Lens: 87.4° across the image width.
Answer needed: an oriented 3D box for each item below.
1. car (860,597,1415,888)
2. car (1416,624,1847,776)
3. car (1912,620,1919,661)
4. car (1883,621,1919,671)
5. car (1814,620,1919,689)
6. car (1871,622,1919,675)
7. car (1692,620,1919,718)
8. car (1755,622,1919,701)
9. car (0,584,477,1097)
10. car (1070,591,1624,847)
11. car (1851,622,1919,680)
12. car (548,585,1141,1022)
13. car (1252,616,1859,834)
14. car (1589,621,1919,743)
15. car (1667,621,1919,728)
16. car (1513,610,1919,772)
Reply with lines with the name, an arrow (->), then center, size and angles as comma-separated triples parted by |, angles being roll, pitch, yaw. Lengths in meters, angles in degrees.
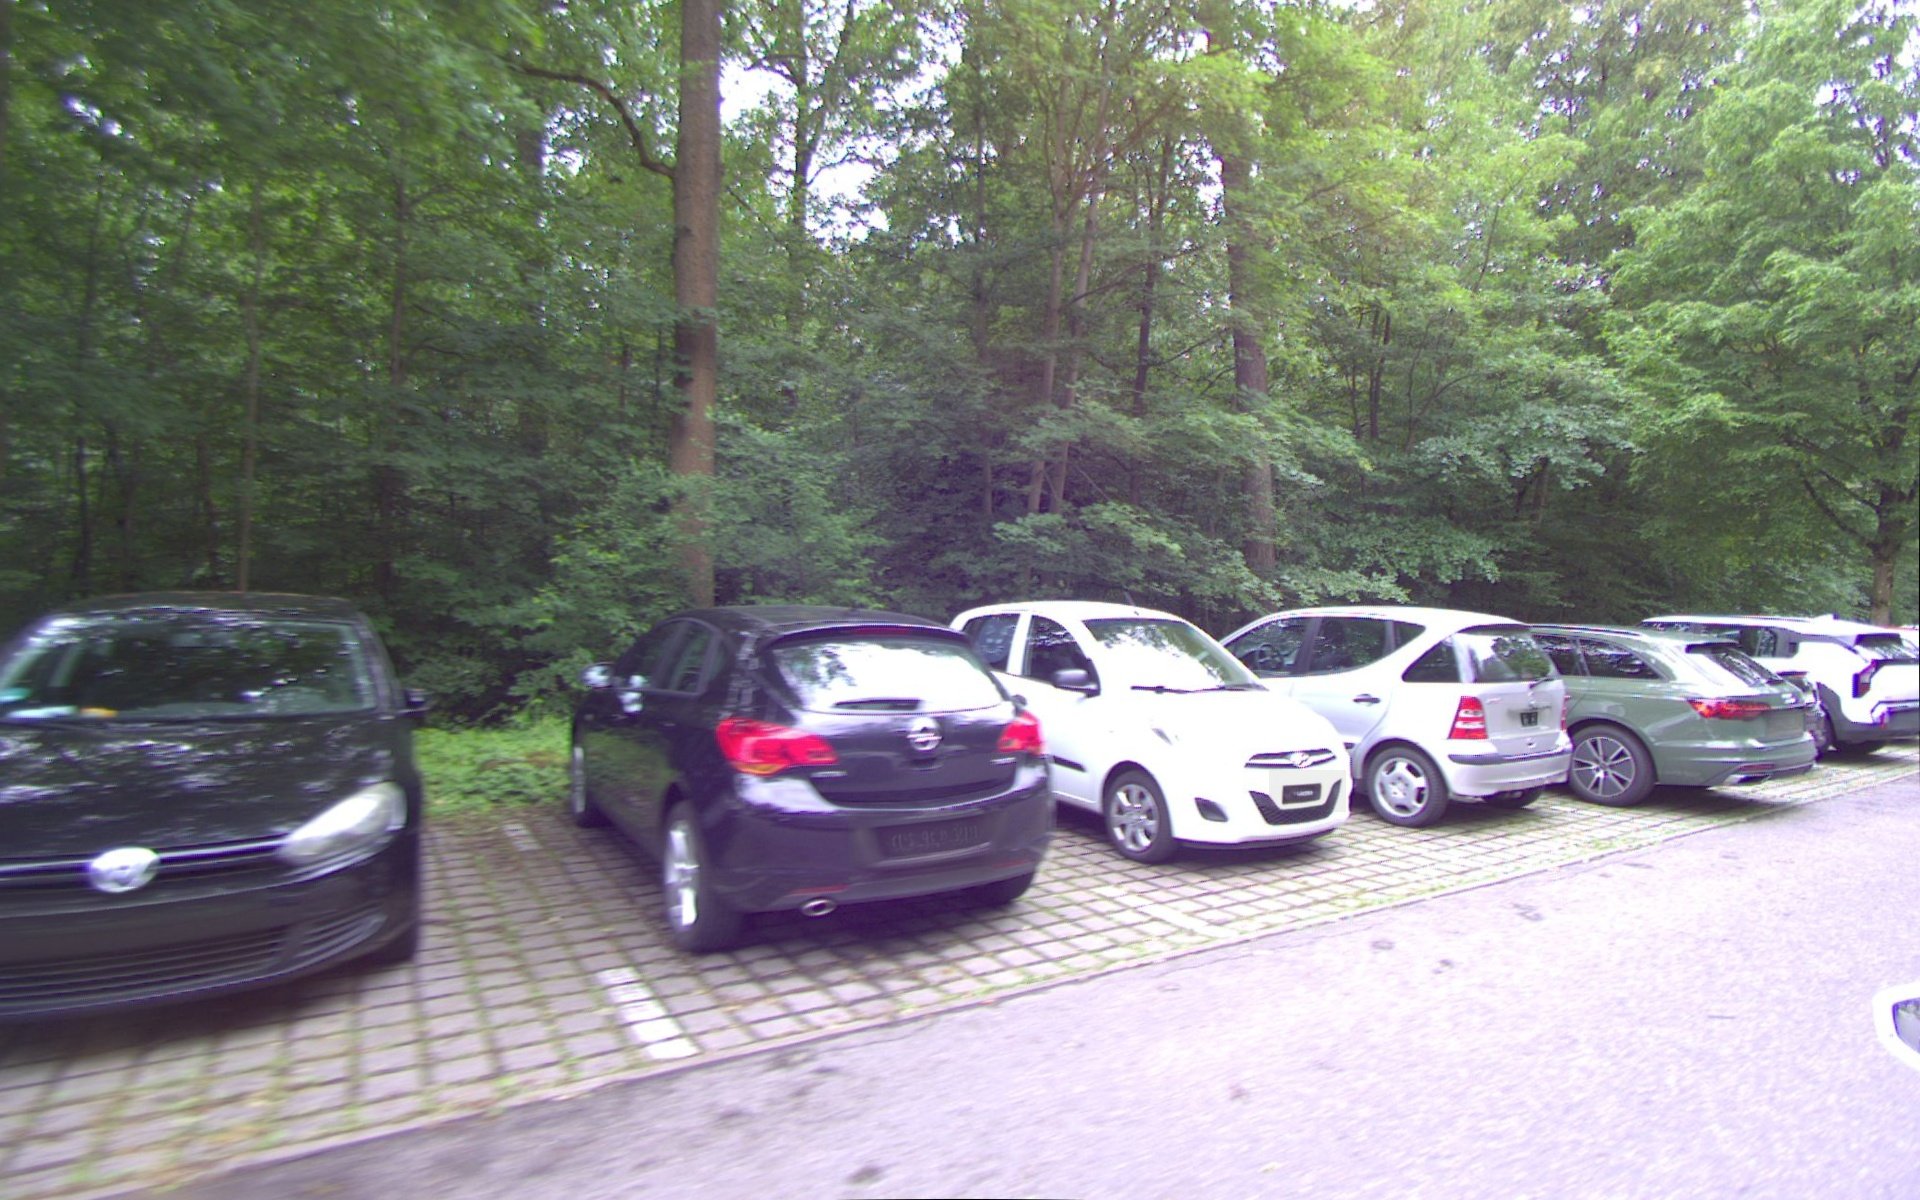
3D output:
car -> 0.996, 0.783, 7.620 | 1.744, 1.554, 4.208 | 1, -1, -33
car -> 7.466, 0.993, 11.511 | 1.712, 1.374, 3.765 | 1, -1, -34
car -> 39.227, 1.603, 38.036 | 1.912, 1.605, 4.474 | 1, 0, -42
car -> 30.395, 1.407, 29.601 | 1.855, 1.506, 4.524 | 1, -1, -40
car -> 22.665, 1.274, 23.138 | 2.038, 1.506, 4.235 | 1, 0, -37
car -> 28.617, 1.409, 28.100 | 2.072, 1.466, 4.518 | 1, -1, -44
car -> 14.902, 1.111, 17.242 | 1.667, 1.501, 3.441 | 1, -1, -36
car -> 18.829, 1.211, 19.965 | 2.016, 1.443, 4.373 | 1, 0, -36
car -> -3.514, 0.703, 4.954 | 1.700, 1.493, 4.213 | 2, 0, -30
car -> 3.090, 0.798, 8.849 | 1.950, 1.669, 4.205 | 1, -1, -35
car -> 26.471, 1.392, 26.482 | 1.878, 1.506, 4.325 | 2, -1, -43
car -> -1.073, 0.733, 5.904 | 1.982, 1.550, 4.214 | 1, 0, -29
car -> 5.320, 0.937, 9.664 | 2.073, 1.497, 4.612 | 1, -1, -33
car -> 11.408, 1.056, 14.301 | 1.881, 1.440, 3.772 | 1, -1, -39
car -> 13.354, 1.076, 15.425 | 1.853, 1.438, 3.702 | 1, -1, -35
car -> 9.393, 0.966, 12.547 | 1.972, 1.649, 3.946 | 1, -1, -27
